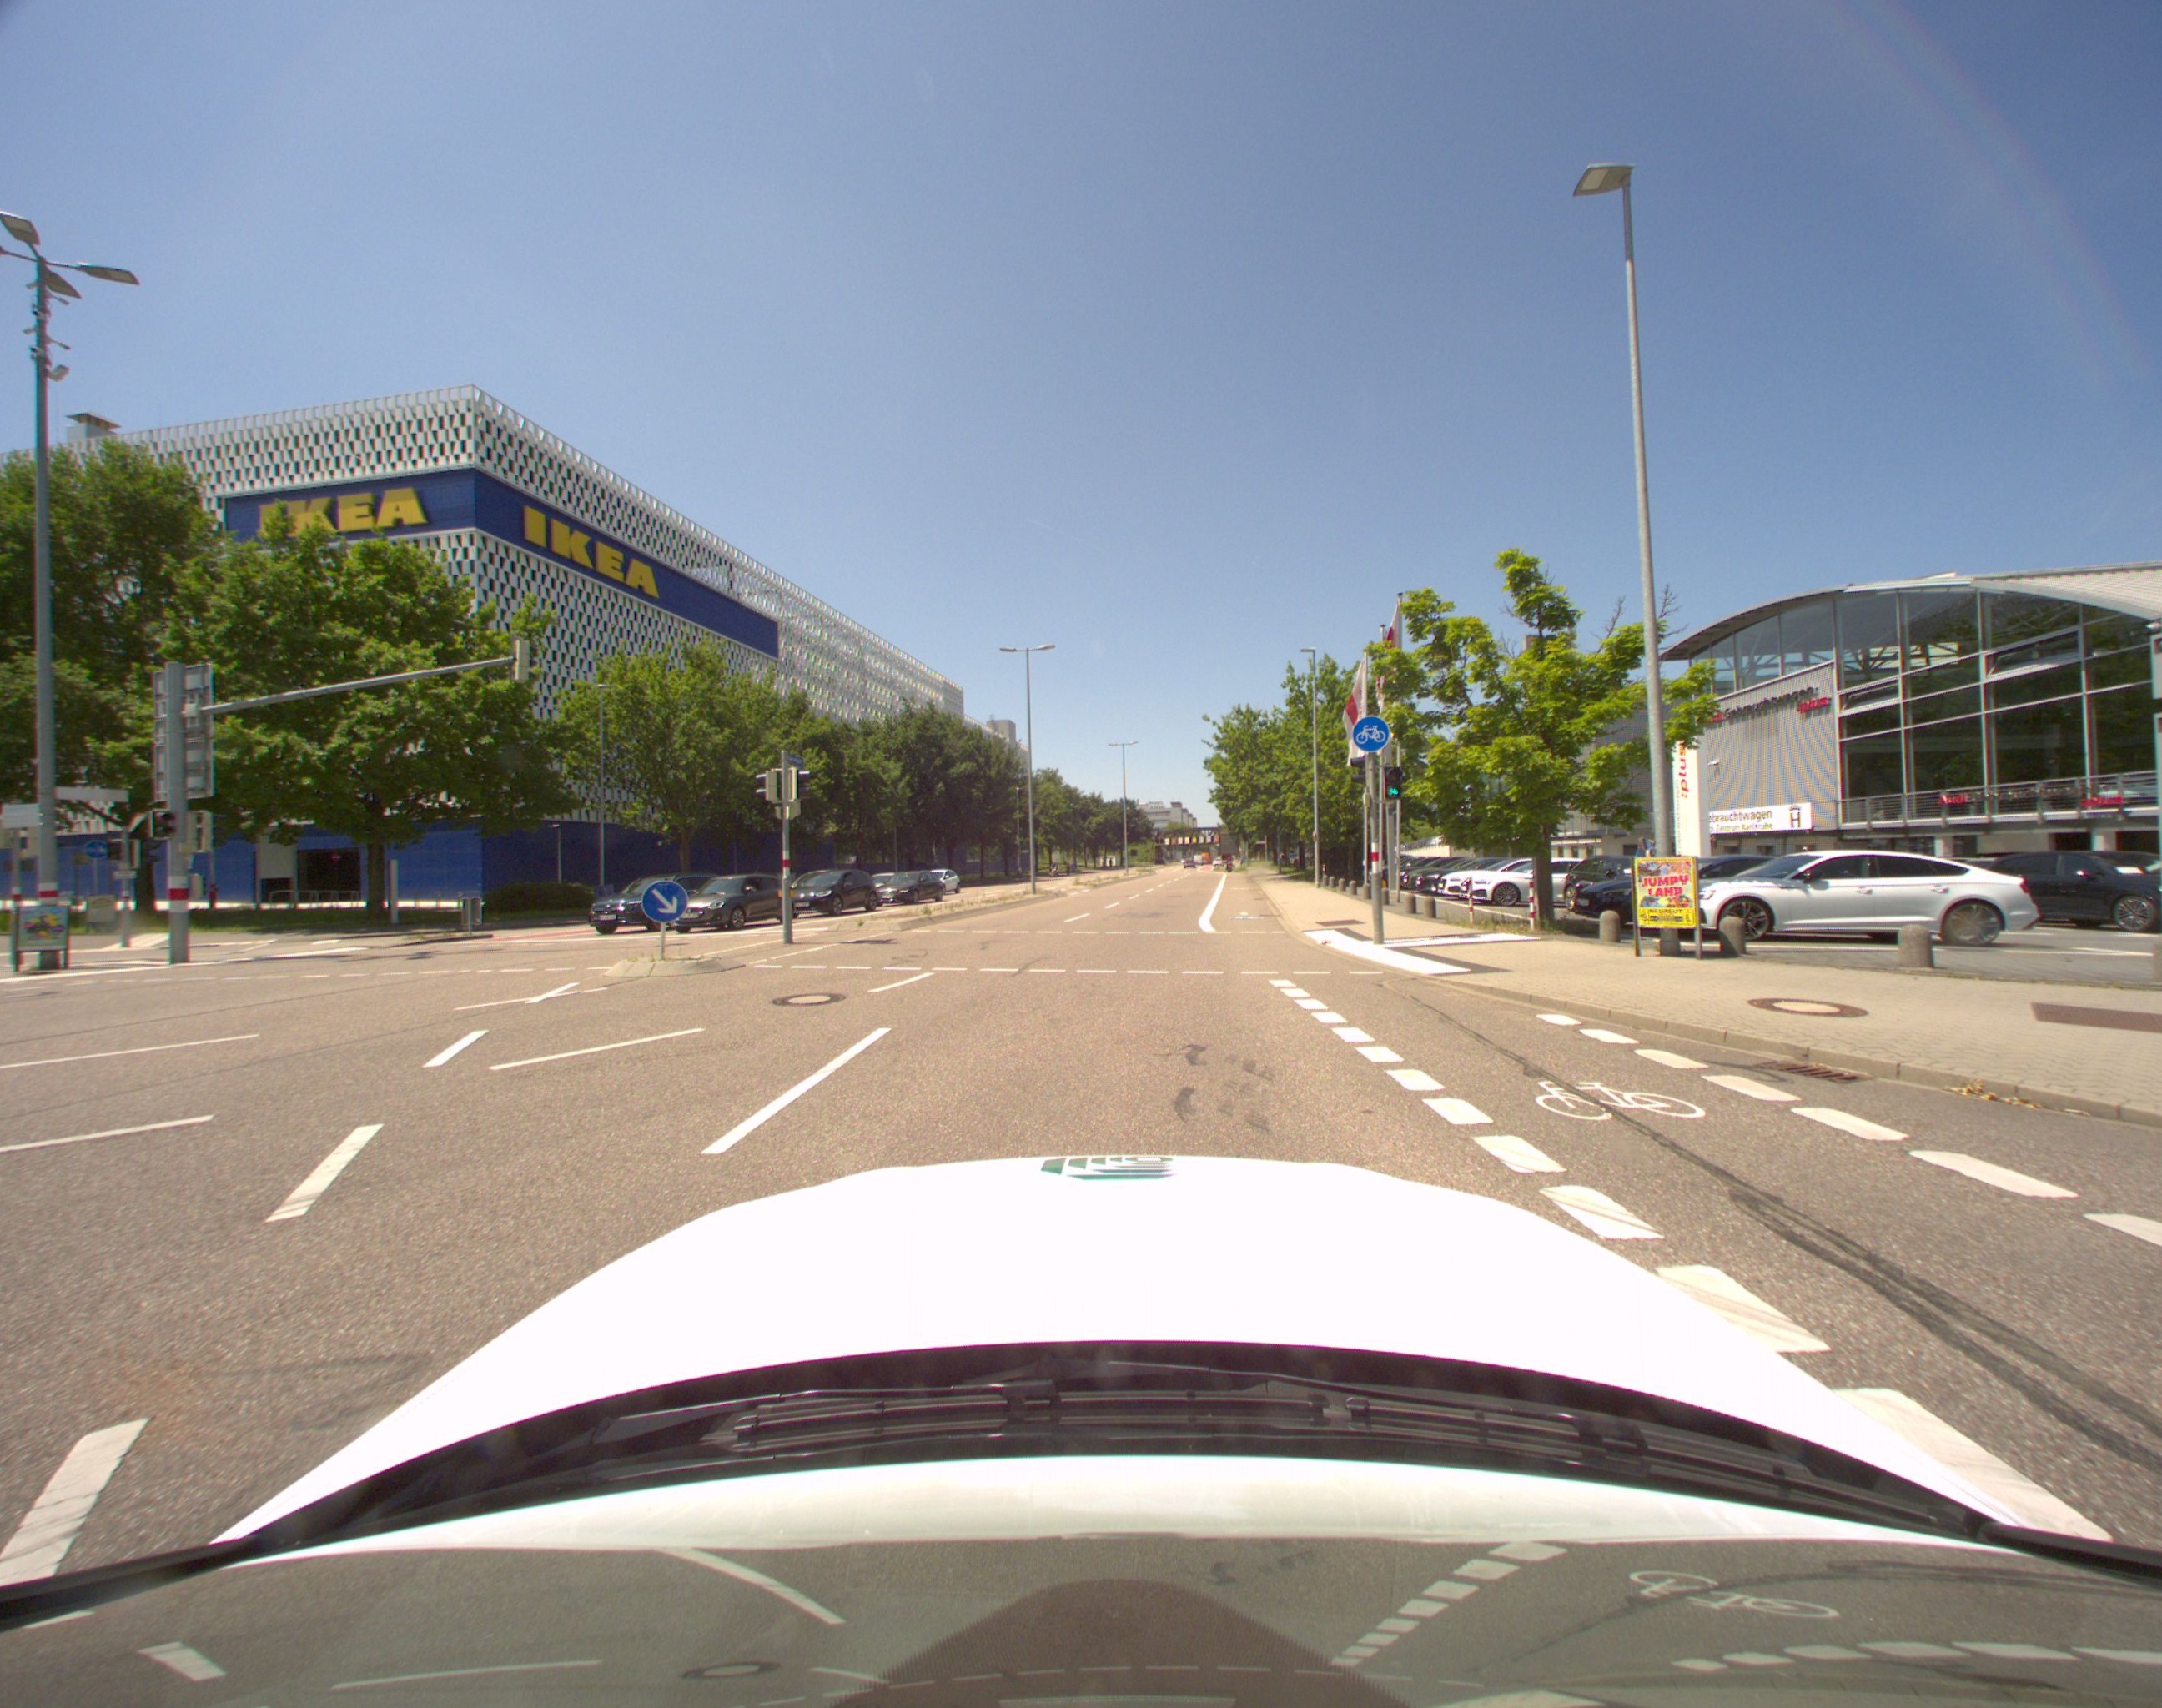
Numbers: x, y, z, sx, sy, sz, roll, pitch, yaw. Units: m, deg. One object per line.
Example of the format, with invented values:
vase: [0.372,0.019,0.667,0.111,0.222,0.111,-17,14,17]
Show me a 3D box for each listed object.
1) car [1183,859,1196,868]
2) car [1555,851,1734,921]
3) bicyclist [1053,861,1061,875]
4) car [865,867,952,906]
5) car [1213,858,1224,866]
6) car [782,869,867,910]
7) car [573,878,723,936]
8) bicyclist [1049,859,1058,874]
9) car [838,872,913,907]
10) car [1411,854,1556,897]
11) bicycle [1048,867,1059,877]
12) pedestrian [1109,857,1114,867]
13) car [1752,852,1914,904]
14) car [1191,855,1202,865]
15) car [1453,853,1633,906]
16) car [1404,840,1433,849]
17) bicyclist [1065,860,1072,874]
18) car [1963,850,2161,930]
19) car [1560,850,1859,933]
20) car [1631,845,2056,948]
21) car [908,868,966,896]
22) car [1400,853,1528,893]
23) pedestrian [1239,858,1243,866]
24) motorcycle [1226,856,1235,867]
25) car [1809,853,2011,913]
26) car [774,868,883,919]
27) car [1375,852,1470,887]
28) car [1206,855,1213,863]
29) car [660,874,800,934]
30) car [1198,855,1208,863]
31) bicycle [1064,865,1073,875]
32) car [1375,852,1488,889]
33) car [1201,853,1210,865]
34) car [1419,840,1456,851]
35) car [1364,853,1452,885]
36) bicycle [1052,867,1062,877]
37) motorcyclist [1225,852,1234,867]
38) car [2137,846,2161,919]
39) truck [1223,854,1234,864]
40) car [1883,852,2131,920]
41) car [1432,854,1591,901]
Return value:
car: [17.451,1.529,131.291,1.889,1.376,4.243,-2,-1,9]
car: [13.065,0.662,19.286,1.850,1.420,4.678,1,0,12]
bicyclist: [-2.812,1.604,95.757,0.632,1.582,0.888,-2,-1,14]
car: [-7.306,1.331,35.035,1.714,1.446,4.736,-4,-1,13]
car: [25.200,1.390,149.352,1.912,1.420,4.011,-1,0,9]
car: [-10.744,1.458,34.367,1.716,1.544,3.926,-2,-1,10]
car: [-12.397,1.478,23.652,1.650,1.424,4.049,-2,-1,10]
bicyclist: [-3.115,1.443,92.222,0.740,1.686,0.955,-2,-1,11]
car: [-9.845,1.681,39.431,1.735,1.422,4.636,-3,-1,10]
car: [13.950,0.715,28.484,4.199,1.390,1.874,1,0,10]
bicycle: [-3.091,2.014,92.265,0.734,1.125,2.442,-2,-1,11]
pedestrian: [5.731,1.476,153.204,0.739,1.884,0.579,-2,-1,11]
car: [24.704,0.765,26.863,3.625,1.580,1.647,1,0,10]
car: [22.702,1.133,159.564,1.981,2.014,4.011,-1,0,9]
car: [12.979,0.698,23.146,4.070,1.364,1.880,1,0,10]
car: [46.665,-1.268,112.679,3.503,1.239,1.614,0,0,8]
bicyclist: [-1.579,1.570,100.576,0.630,1.629,1.047,-3,-1,9]
car: [21.890,0.707,17.373,1.862,1.515,4.732,1,0,13]
car: [11.596,0.647,15.326,4.070,1.390,1.874,1,0,10]
car: [11.552,0.591,12.724,4.561,1.390,1.875,1,0,12]
car: [-8.306,1.582,47.413,1.715,1.446,4.466,-4,-1,12]
car: [14.537,0.704,31.106,4.075,1.405,1.874,1,0,10]
pedestrian: [25.170,1.270,128.283,0.620,1.374,0.566,-1,-1,9]
motorcycle: [15.790,0.788,86.104,0.714,1.105,1.830,0,-1,1]
car: [24.226,0.812,23.939,3.961,1.622,1.661,1,0,10]
car: [-8.603,1.311,28.153,1.715,1.505,4.256,-4,-1,11]
car: [15.386,0.678,36.847,3.658,1.453,1.839,1,0,10]
car: [33.034,1.284,209.532,1.740,2.013,3.881,-2,0,10]
car: [-9.463,1.300,22.299,1.633,1.389,3.727,-4,-1,11]
car: [27.472,1.120,183.302,1.883,1.816,4.011,-2,0,10]
bicycle: [-1.540,2.021,100.660,0.625,1.159,2.123,-4,-1,10]
car: [14.706,0.672,34.393,4.075,1.453,1.874,1,0,10]
car: [29.946,1.248,195.709,2.060,2.854,6.783,-2,-1,10]
car: [45.214,-1.072,103.425,3.967,1.312,1.800,0,0,6]
car: [15.811,0.687,39.493,3.658,1.453,1.839,1,0,10]
bicycle: [-2.793,2.160,95.766,0.633,1.134,1.978,-2,-1,14]
motorcyclist: [15.693,0.573,86.042,0.717,1.529,0.871,0,-1,1]
car: [24.534,0.643,16.302,1.862,1.627,4.324,1,0,13]
truck: [33.976,1.156,187.454,2.443,2.410,7.154,0,0,10]
car: [23.784,0.789,21.085,3.960,1.598,1.856,1,0,10]
car: [13.519,0.706,25.815,4.074,1.348,1.874,1,0,10]
